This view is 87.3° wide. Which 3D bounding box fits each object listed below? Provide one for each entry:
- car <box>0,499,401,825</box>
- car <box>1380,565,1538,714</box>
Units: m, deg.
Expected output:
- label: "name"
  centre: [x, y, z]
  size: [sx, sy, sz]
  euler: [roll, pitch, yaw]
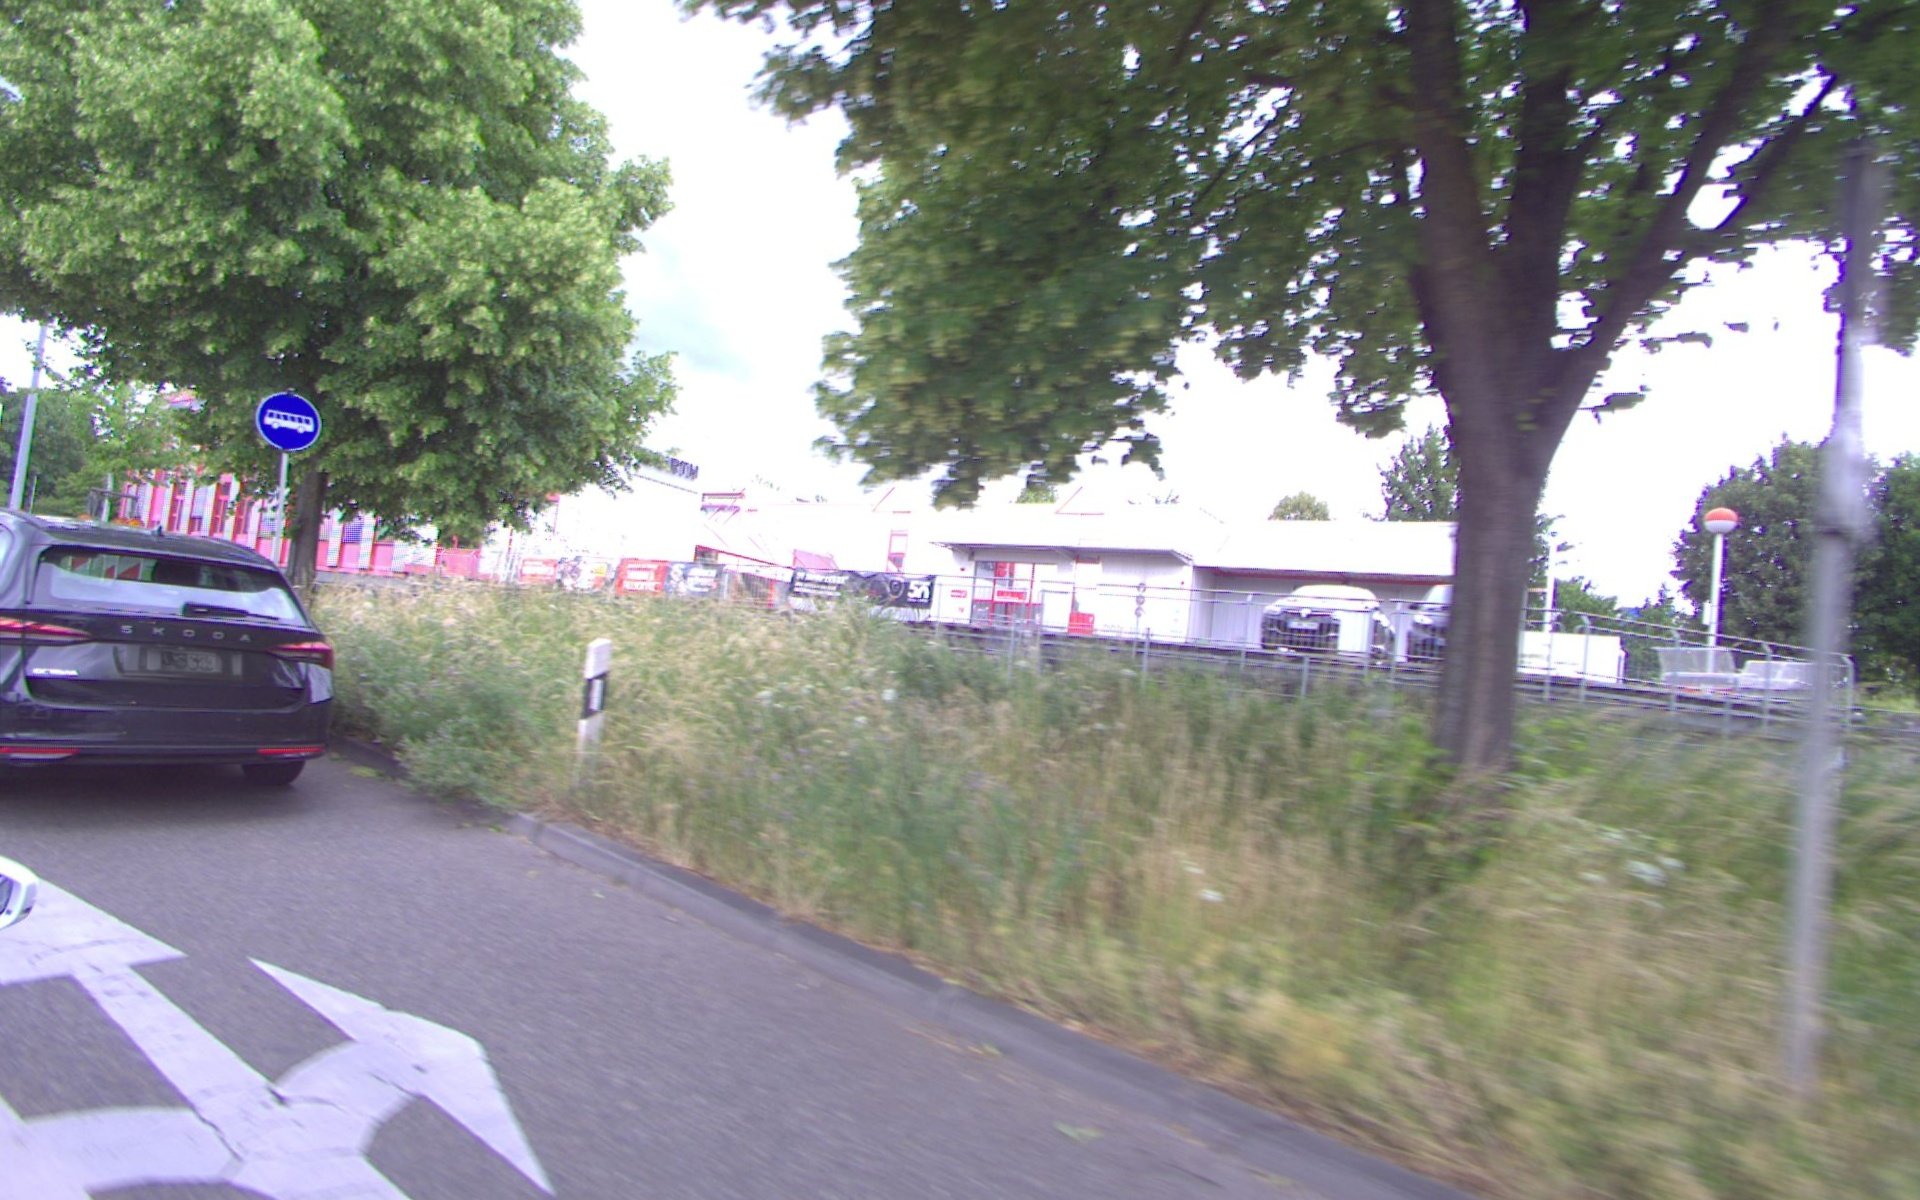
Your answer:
- label: "car"
  centre: [-5.516, 0.234, 6.356]
  size: [4.215, 1.448, 1.837]
  euler: [5, -3, 38]
- label: "car"
  centre: [8.584, 0.747, 17.145]
  size: [1.618, 1.980, 3.760]
  euler: [7, -3, 36]
